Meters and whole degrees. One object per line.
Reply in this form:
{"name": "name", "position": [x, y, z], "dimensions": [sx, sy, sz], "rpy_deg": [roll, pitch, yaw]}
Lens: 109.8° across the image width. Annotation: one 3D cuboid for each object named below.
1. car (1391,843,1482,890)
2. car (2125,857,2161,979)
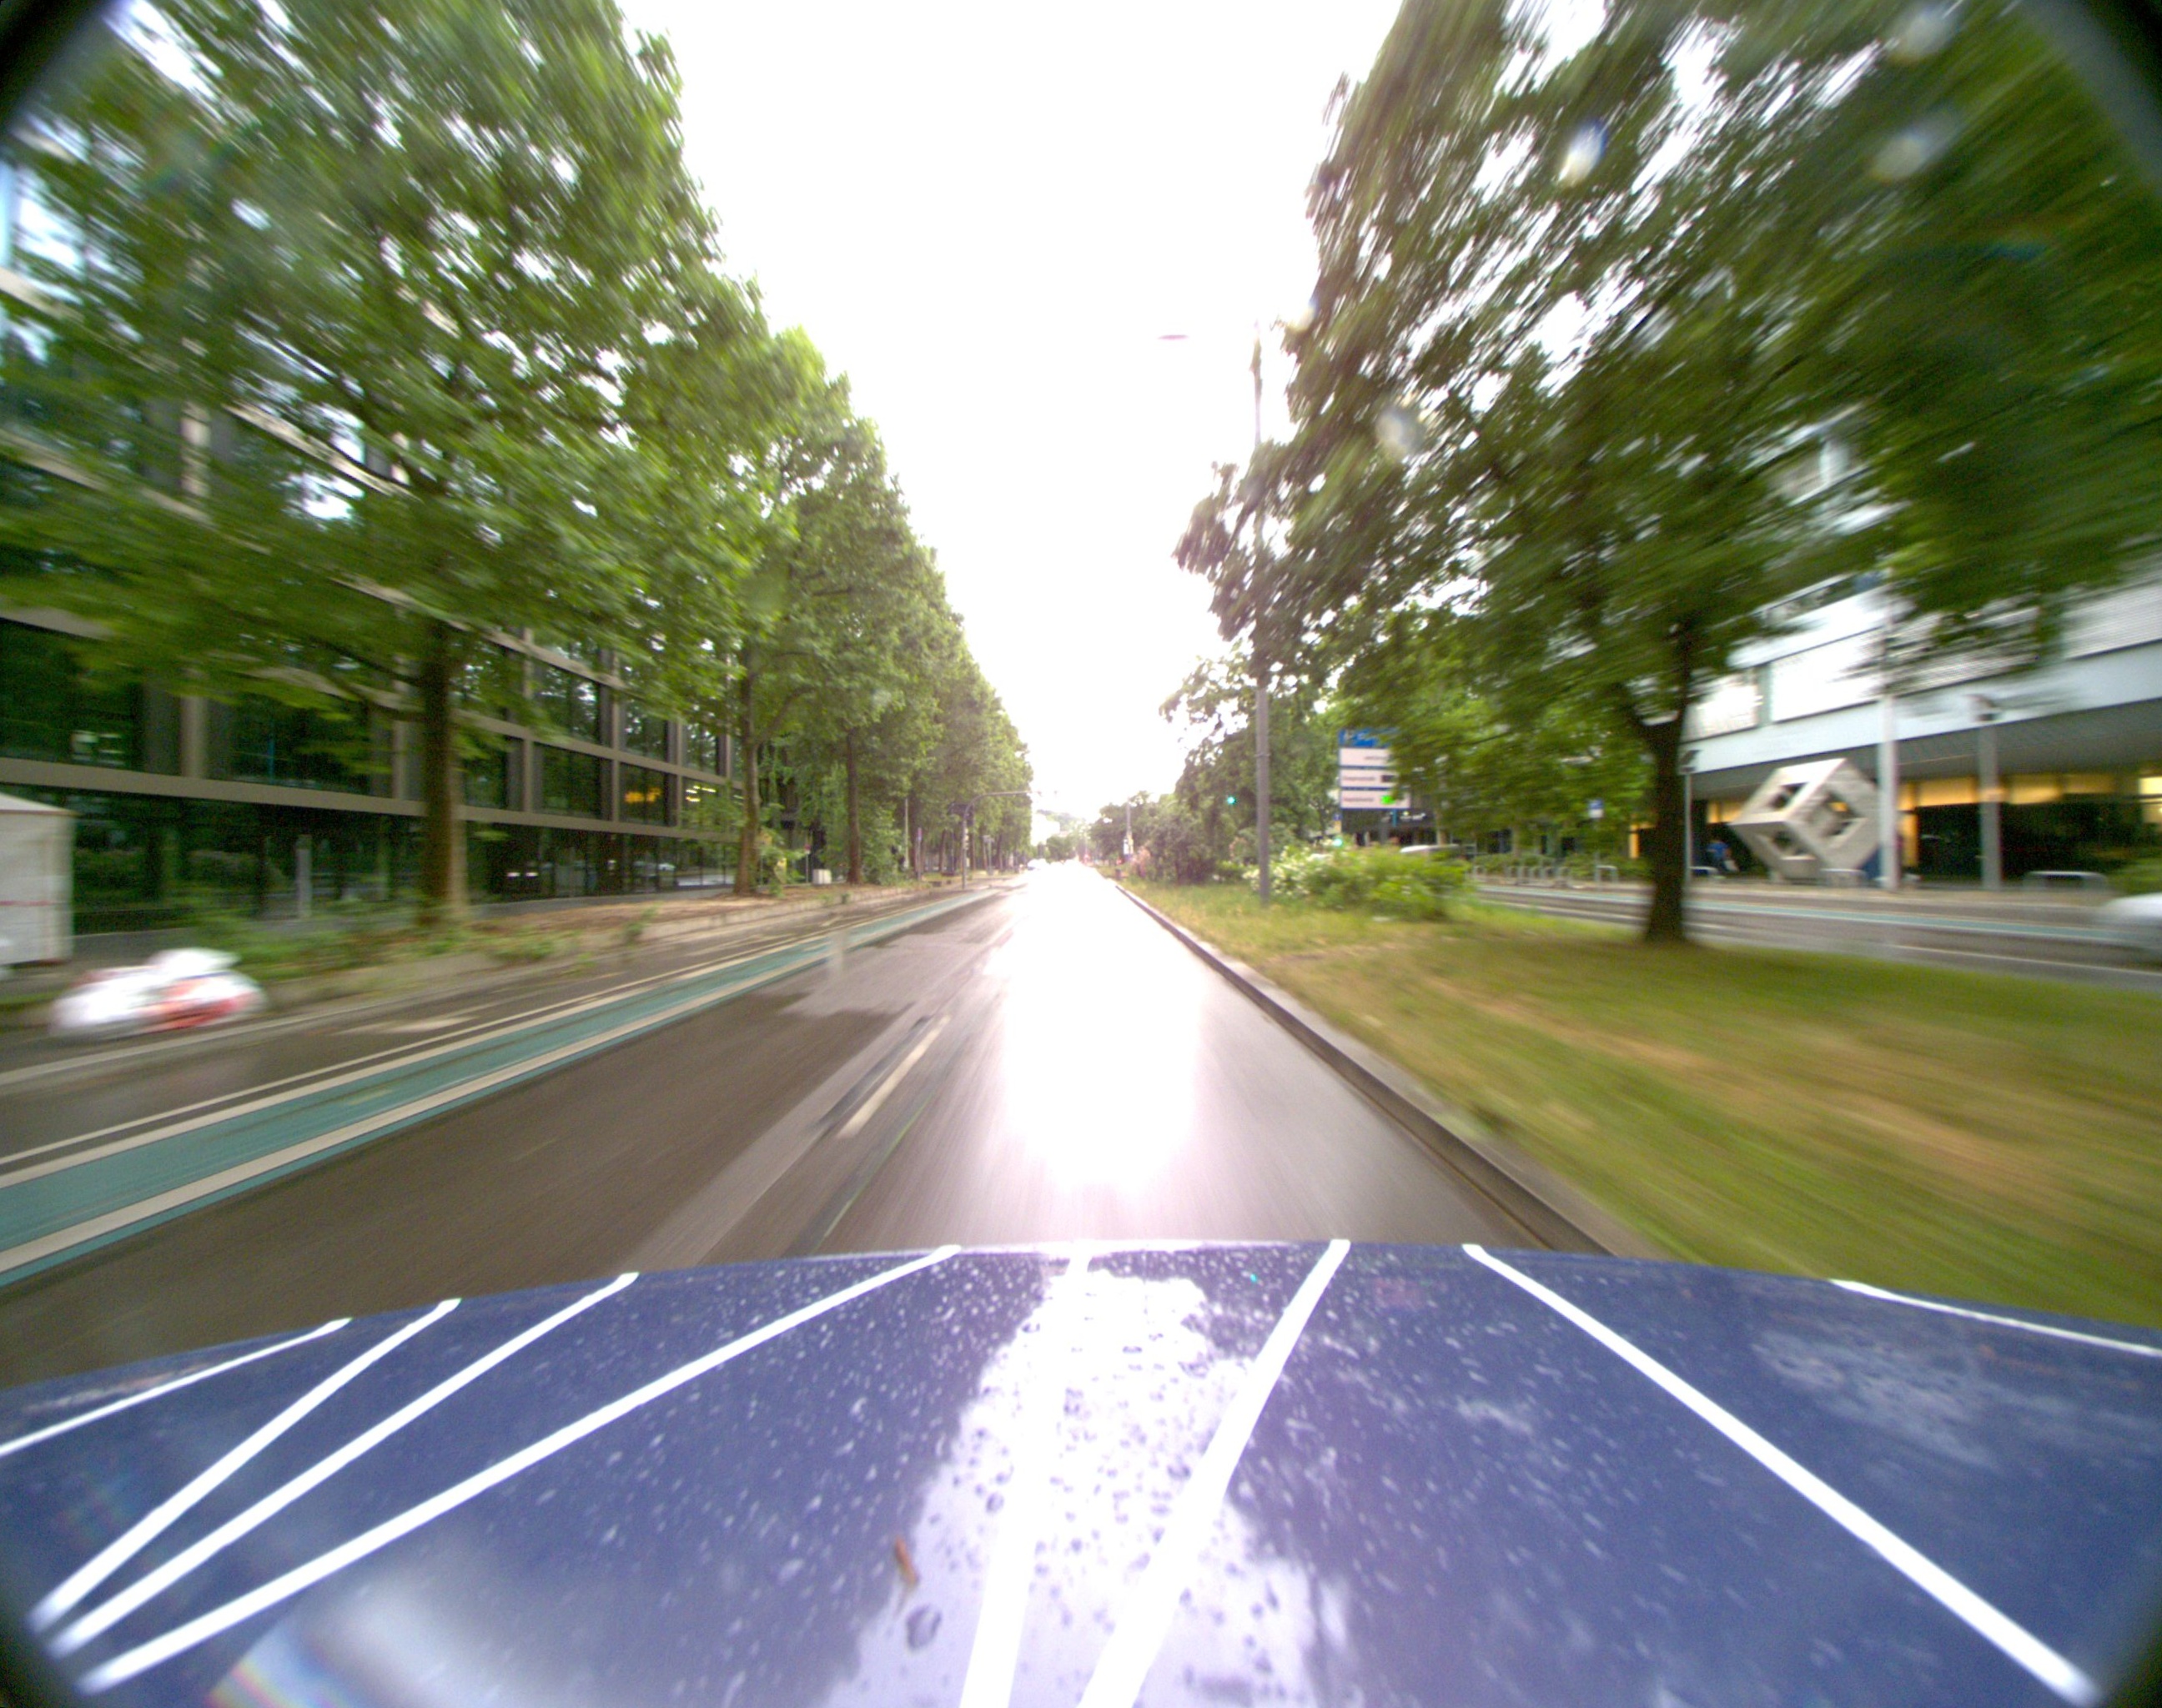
{"name": "car", "position": [14.691, 0.494, 31.690], "dimensions": [1.998, 1.791, 4.283], "rpy_deg": [-1, 0, 3]}
{"name": "car", "position": [13.382, 0.749, 7.572], "dimensions": [1.163, 1.454, 3.561], "rpy_deg": [-1, 0, 2]}
